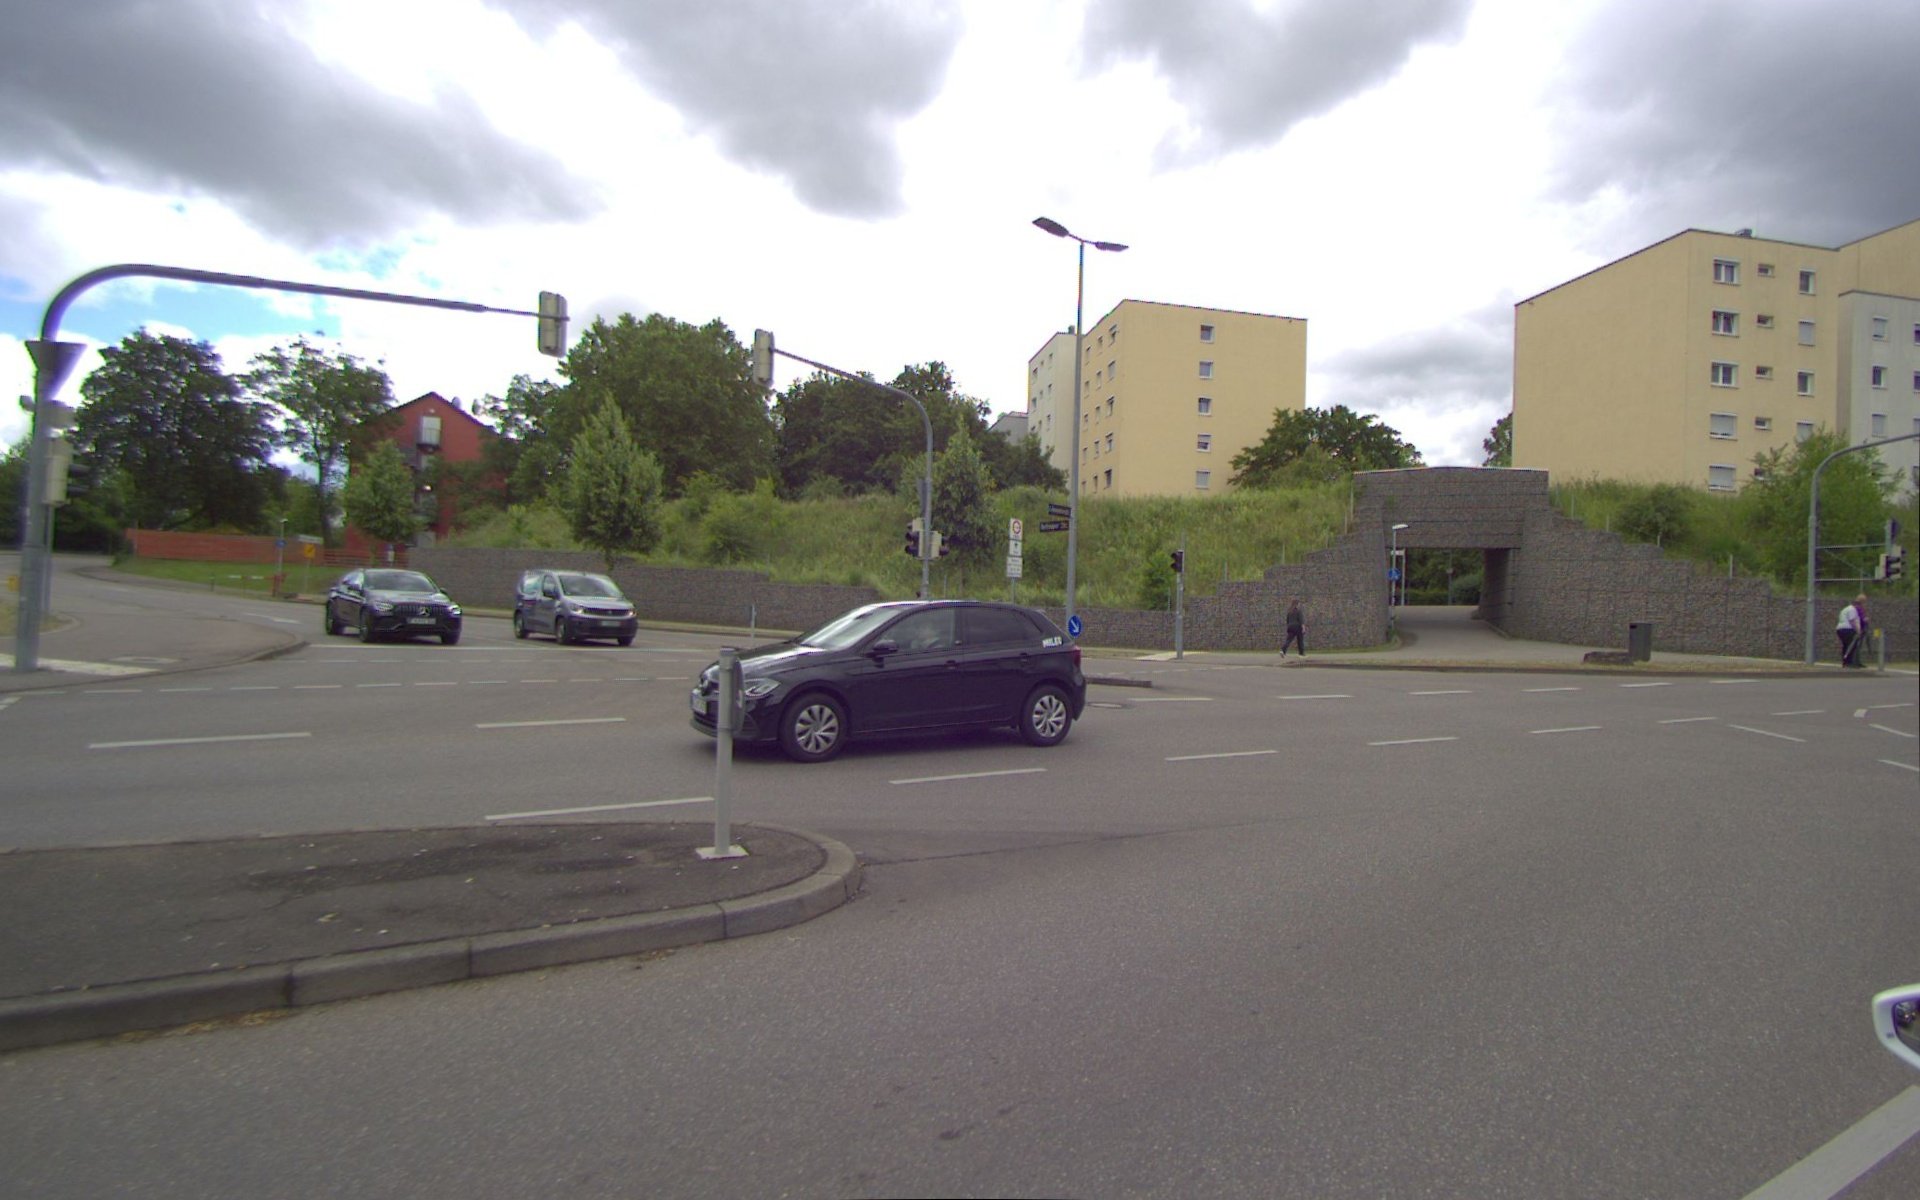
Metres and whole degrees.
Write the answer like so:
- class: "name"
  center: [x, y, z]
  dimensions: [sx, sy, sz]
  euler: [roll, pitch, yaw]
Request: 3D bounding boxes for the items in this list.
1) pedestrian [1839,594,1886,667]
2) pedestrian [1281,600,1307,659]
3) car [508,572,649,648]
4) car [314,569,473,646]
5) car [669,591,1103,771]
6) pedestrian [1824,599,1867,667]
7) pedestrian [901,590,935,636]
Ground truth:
- class: "pedestrian"
  center: [23.428, 0.794, 26.084]
  dimensions: [0.655, 1.852, 0.621]
  euler: [2, 0, -18]
- class: "pedestrian"
  center: [9.167, 0.799, 27.578]
  dimensions: [0.612, 1.578, 0.580]
  euler: [2, 0, 19]
- class: "car"
  center: [-9.721, 0.209, 25.419]
  dimensions: [1.749, 1.751, 4.205]
  euler: [1, 0, -45]
- class: "car"
  center: [-12.904, 0.128, 22.772]
  dimensions: [2.097, 1.572, 4.205]
  euler: [2, 0, -45]
- class: "car"
  center: [-0.687, 0.684, 10.106]
  dimensions: [4.021, 1.474, 1.745]
  euler: [1, 1, -31]
- class: "pedestrian"
  center: [22.727, 0.848, 25.788]
  dimensions: [0.658, 1.701, 0.619]
  euler: [1, 0, -30]
- class: "pedestrian"
  center: [-1.497, 0.469, 35.611]
  dimensions: [0.884, 1.578, 0.800]
  euler: [2, 0, 27]
